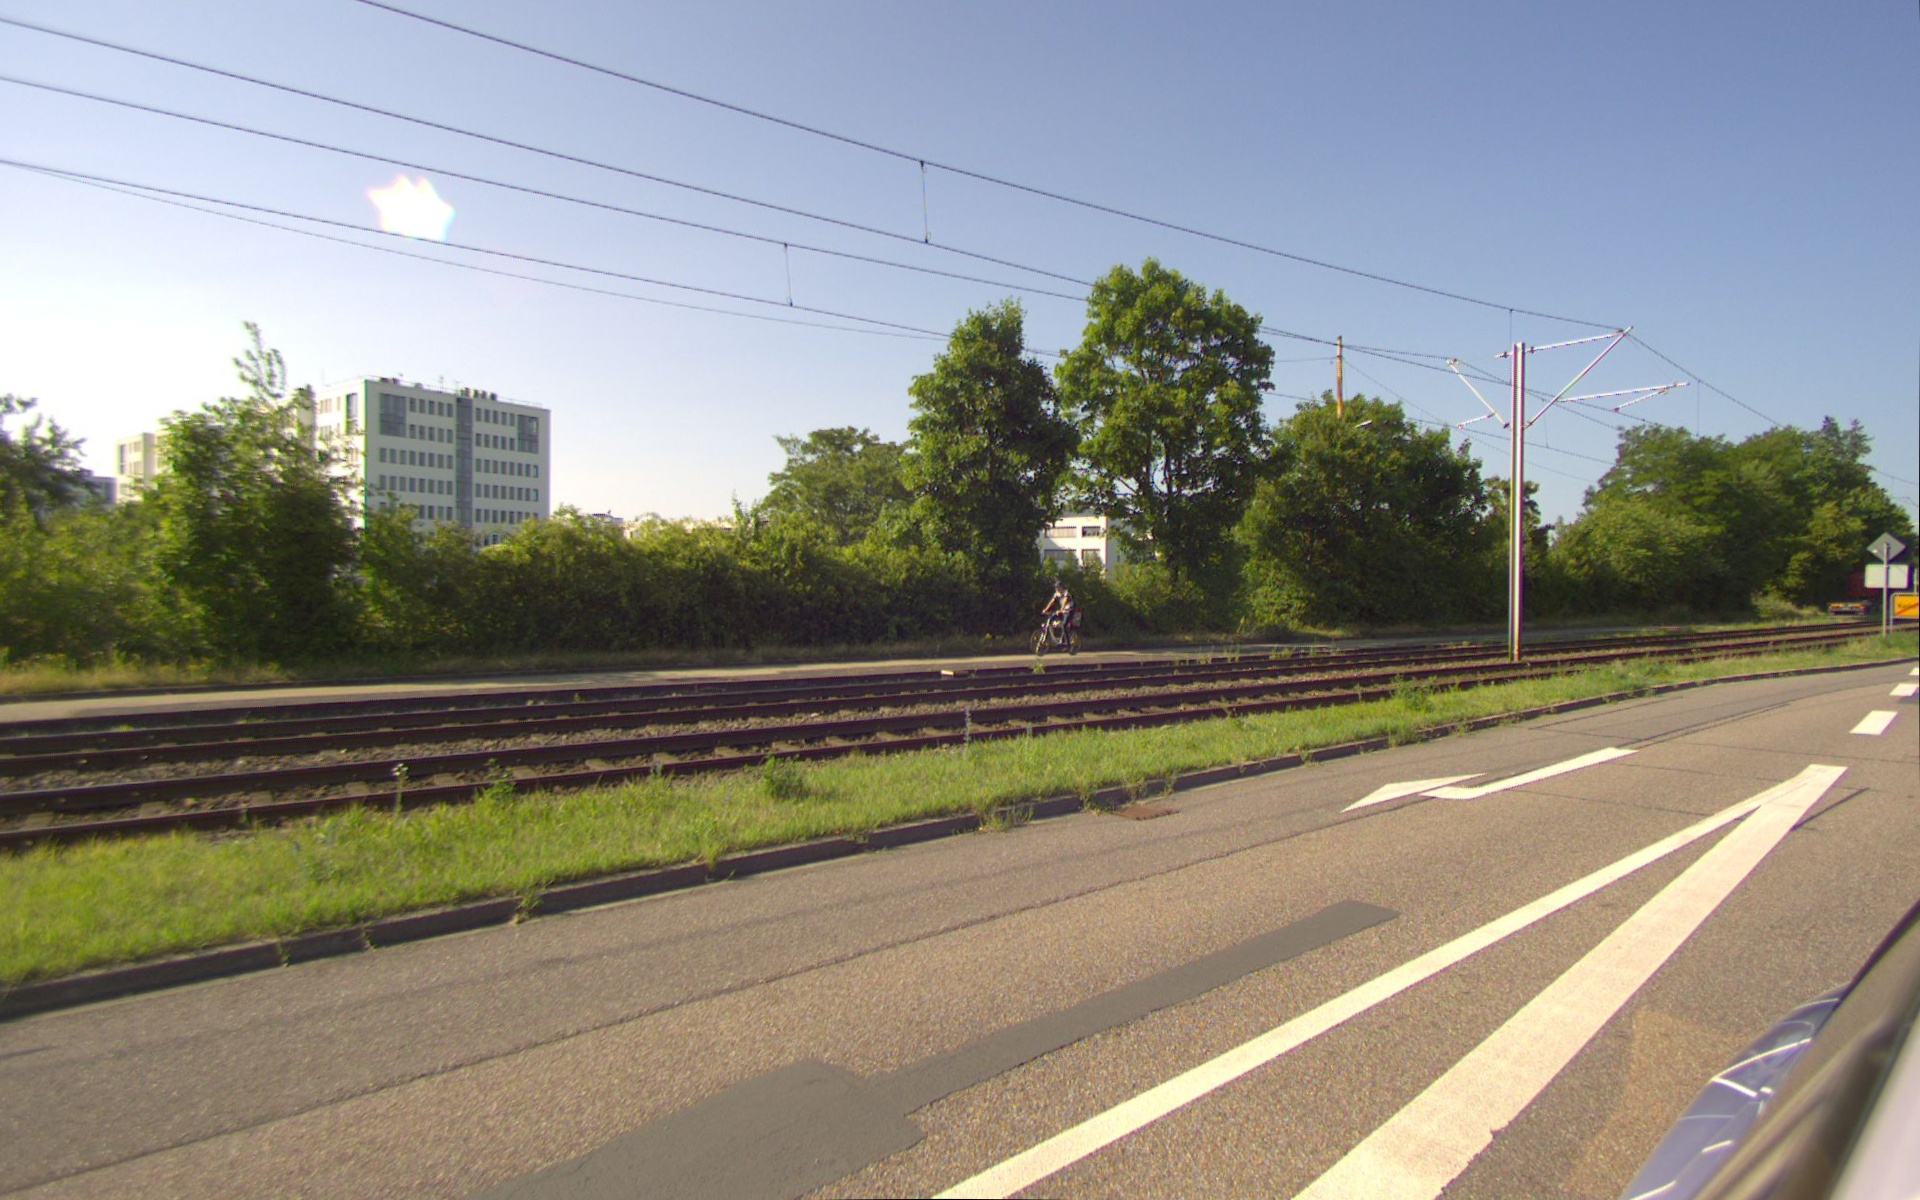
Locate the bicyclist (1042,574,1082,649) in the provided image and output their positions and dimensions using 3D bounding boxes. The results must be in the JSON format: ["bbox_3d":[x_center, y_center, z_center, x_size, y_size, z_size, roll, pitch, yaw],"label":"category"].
[{"bbox_3d":[2.552,0.281,25.268,0.705,1.830,0.708,0,1,-39],"label":"bicyclist"}]

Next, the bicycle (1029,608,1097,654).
[{"bbox_3d":[2.575,0.757,25.254,1.840,1.060,0.547,0,1,-39],"label":"bicycle"}]
